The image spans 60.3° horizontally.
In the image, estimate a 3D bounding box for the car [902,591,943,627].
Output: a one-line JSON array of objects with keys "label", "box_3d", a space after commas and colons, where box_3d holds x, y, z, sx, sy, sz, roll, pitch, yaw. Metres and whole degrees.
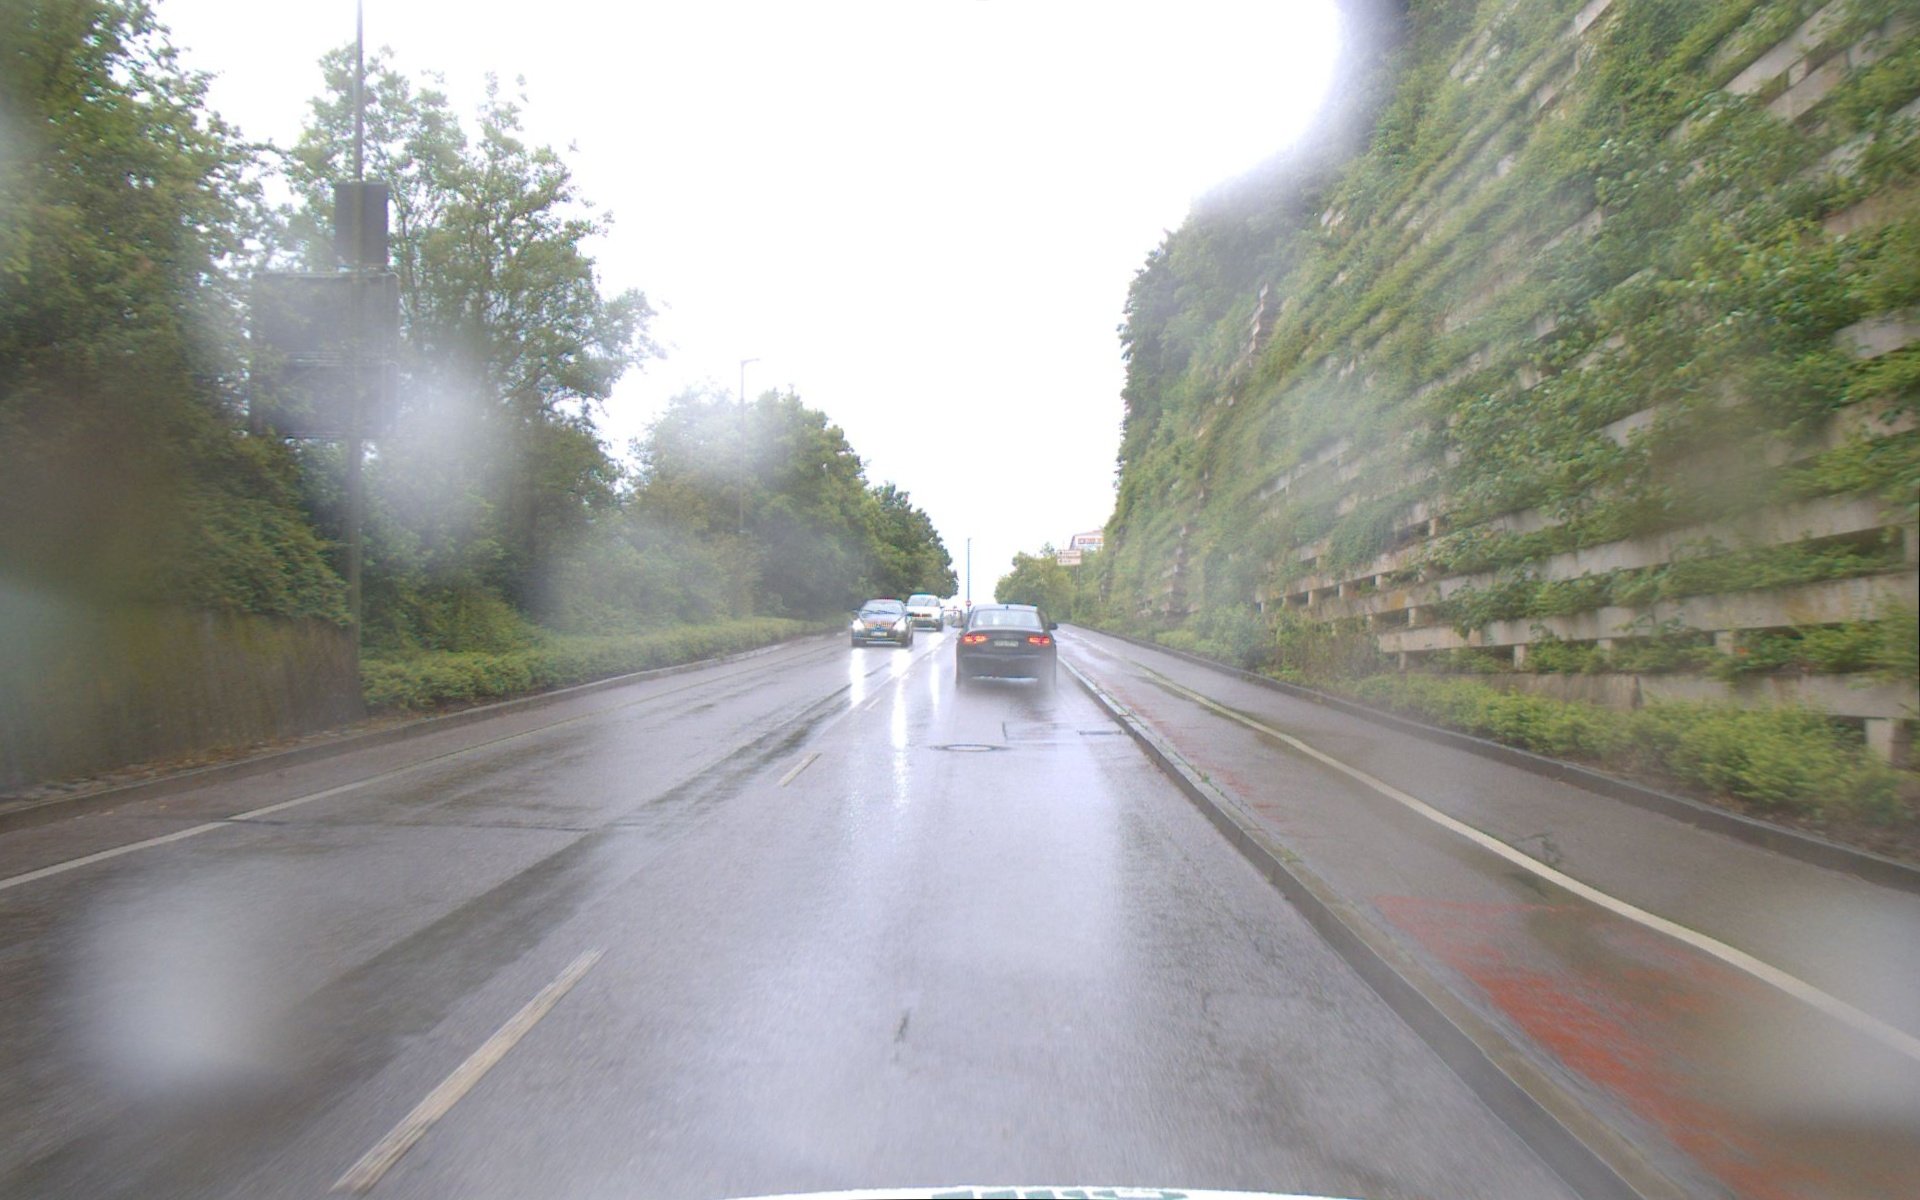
[{"label": "car", "box_3d": [-1.717, 0.418, 77.637, 1.785, 1.643, 4.093, 1, 0, 0]}]

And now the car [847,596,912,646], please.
[{"label": "car", "box_3d": [-2.465, 0.611, 51.720, 1.827, 1.474, 4.377, 1, 0, -1]}]

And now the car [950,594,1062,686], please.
[{"label": "car", "box_3d": [0.842, 0.659, 29.582, 1.853, 1.518, 4.208, 1, 0, 2]}]
